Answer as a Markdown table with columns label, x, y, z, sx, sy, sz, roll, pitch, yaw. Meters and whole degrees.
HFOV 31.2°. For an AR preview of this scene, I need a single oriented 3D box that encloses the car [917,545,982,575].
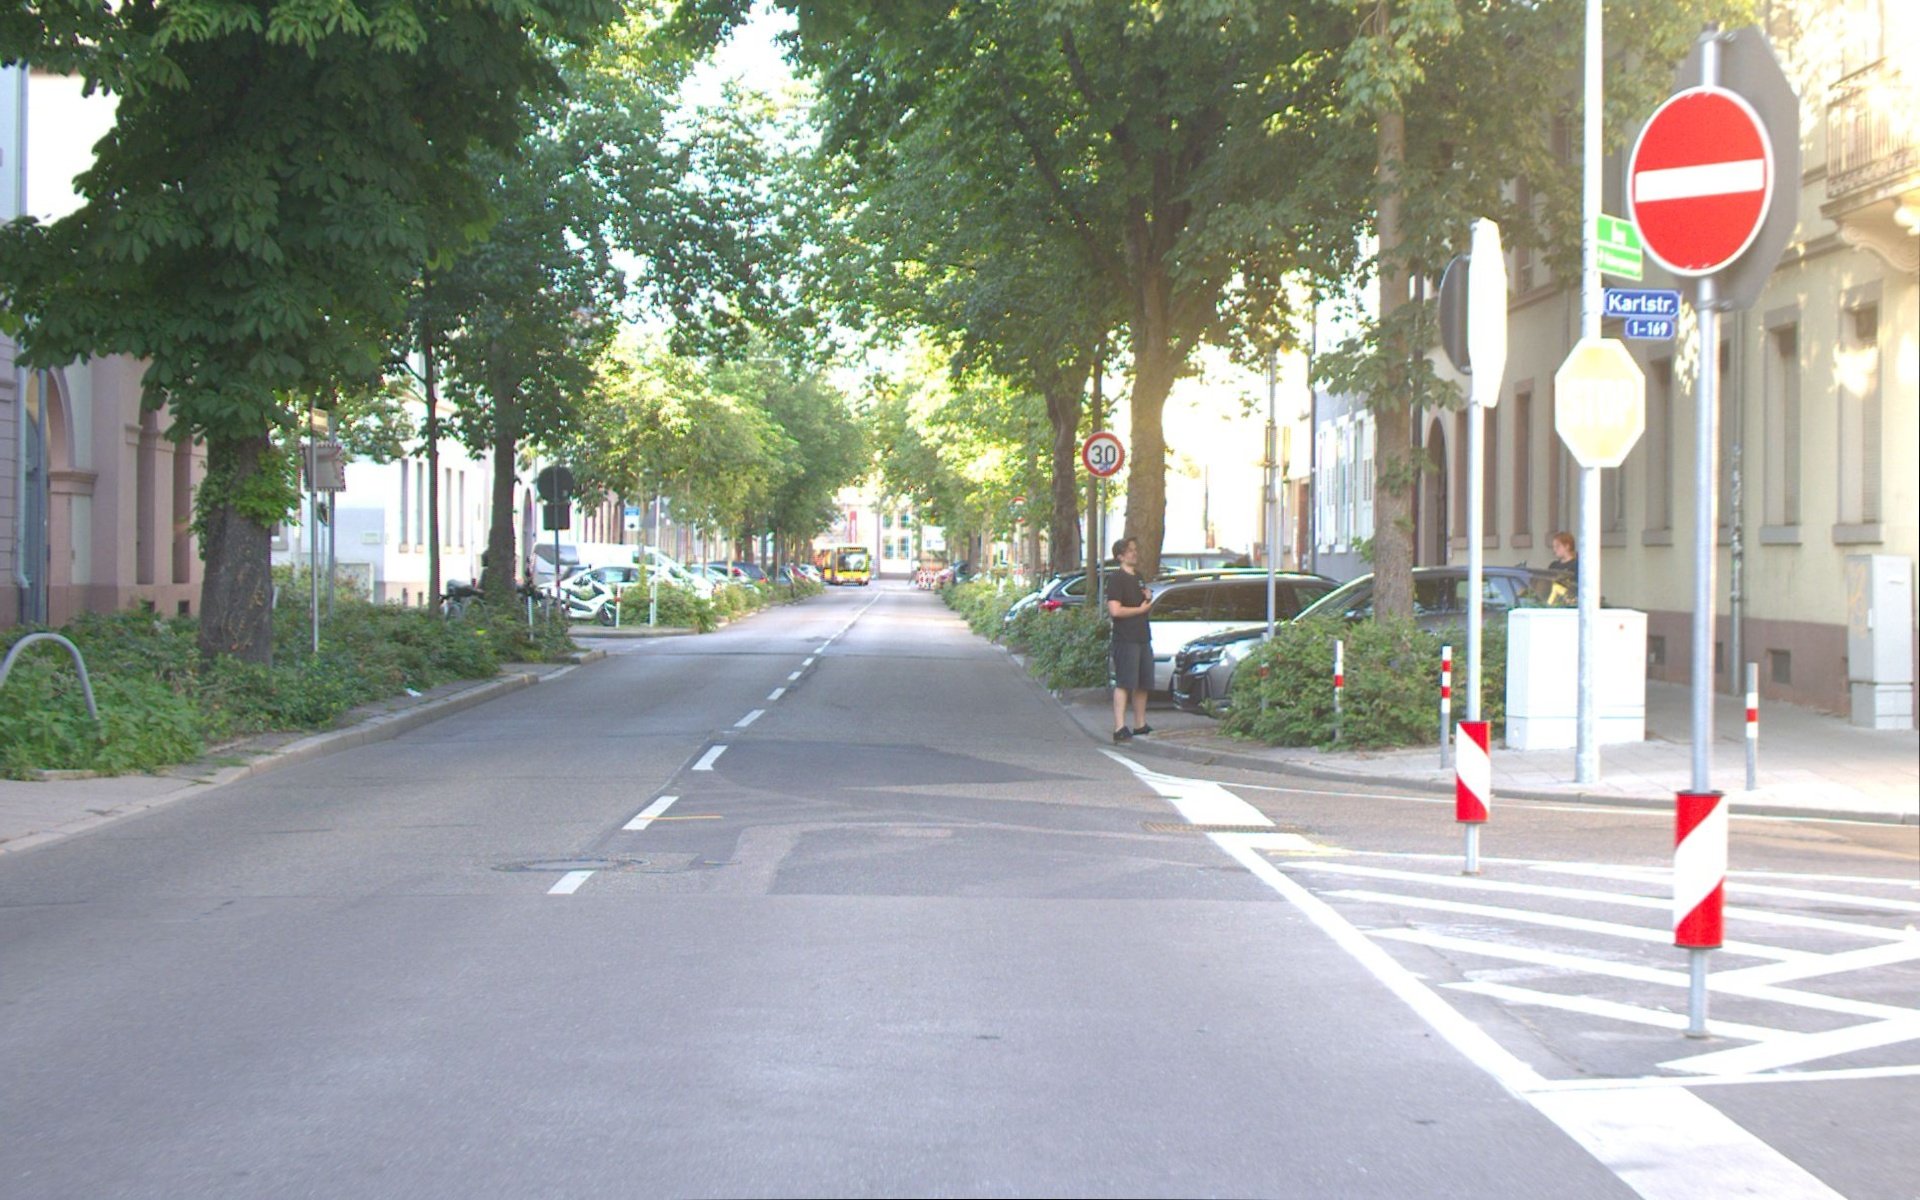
| label | x | y | z | sx | sy | sz | roll | pitch | yaw |
| --- | --- | --- | --- | --- | --- | --- | --- | --- | --- |
| car | -0.684 | -2.600 | 223.407 | 3.988 | 1.831 | 2.000 | 1 | 1 | 7 |

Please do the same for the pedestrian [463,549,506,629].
| label | x | y | z | sx | sy | sz | roll | pitch | yaw |
| --- | --- | --- | --- | --- | --- | --- | --- | --- | --- |
| pedestrian | -8.444 | -0.202 | 61.047 | 0.655 | 1.390 | 0.607 | 2 | 0 | -1 |

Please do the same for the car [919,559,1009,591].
| label | x | y | z | sx | sy | sz | roll | pitch | yaw |
| --- | --- | --- | --- | --- | --- | --- | --- | --- | --- |
| car | 0.169 | -1.129 | 155.472 | 3.986 | 1.437 | 1.697 | 0 | 1 | -2 |

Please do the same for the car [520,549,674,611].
| label | x | y | z | sx | sy | sz | roll | pitch | yaw |
| --- | --- | --- | --- | --- | --- | --- | --- | --- | --- |
| car | -8.994 | -0.504 | 85.379 | 3.725 | 1.503 | 1.873 | 0 | 1 | -4 |

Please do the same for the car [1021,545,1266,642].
| label | x | y | z | sx | sy | sz | roll | pitch | yaw |
| --- | --- | --- | --- | --- | --- | --- | --- | --- | --- |
| car | 3.076 | -0.122 | 58.199 | 4.014 | 1.617 | 1.781 | 0 | 1 | -2 |

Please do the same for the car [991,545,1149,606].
| label | x | y | z | sx | sy | sz | roll | pitch | yaw |
| --- | --- | --- | --- | --- | --- | --- | --- | --- | --- |
| car | 3.211 | -0.742 | 101.021 | 4.593 | 1.755 | 2.222 | 0 | 1 | 0 |

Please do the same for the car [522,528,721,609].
| label | x | y | z | sx | sy | sz | roll | pitch | yaw |
| --- | --- | --- | --- | --- | --- | --- | --- | --- | --- |
| car | -8.905 | -0.837 | 90.770 | 5.064 | 2.076 | 2.263 | 0 | 1 | -1 |

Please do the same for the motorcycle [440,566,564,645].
| label | x | y | z | sx | sy | sz | roll | pitch | yaw |
| --- | --- | --- | --- | --- | --- | --- | --- | --- | --- |
| motorcycle | -7.401 | 0.085 | 55.593 | 1.919 | 1.254 | 0.591 | 0 | 1 | -1 |

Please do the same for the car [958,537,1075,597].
| label | x | y | z | sx | sy | sz | roll | pitch | yaw |
| --- | --- | --- | --- | --- | --- | --- | --- | --- | --- |
| car | 1.988 | -1.143 | 119.855 | 3.987 | 2.007 | 2.000 | 1 | 1 | 3 |

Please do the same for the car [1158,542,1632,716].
| label | x | y | z | sx | sy | sz | roll | pitch | yaw |
| --- | --- | --- | --- | --- | --- | --- | --- | --- | --- |
| car | 3.982 | 0.249 | 31.975 | 4.107 | 1.485 | 1.850 | 1 | 2 | -2 |

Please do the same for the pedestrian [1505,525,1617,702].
| label | x | y | z | sx | sy | sz | roll | pitch | yaw |
| --- | --- | --- | --- | --- | --- | --- | --- | --- | --- |
| pedestrian | 5.907 | 0.122 | 33.835 | 0.943 | 1.700 | 0.782 | 1 | 2 | 1 |

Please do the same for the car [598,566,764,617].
| label | x | y | z | sx | sy | sz | roll | pitch | yaw |
| --- | --- | --- | --- | --- | --- | --- | --- | --- | --- |
| car | -8.972 | -0.282 | 110.846 | 5.064 | 1.611 | 2.263 | 0 | 1 | 3 |

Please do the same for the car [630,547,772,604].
| label | x | y | z | sx | sy | sz | roll | pitch | yaw |
| --- | --- | --- | --- | --- | --- | --- | --- | --- | --- |
| car | -9.565 | -0.923 | 127.094 | 5.064 | 2.076 | 2.263 | 0 | 1 | 1 |

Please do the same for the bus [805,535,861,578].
| label | x | y | z | sx | sy | sz | roll | pitch | yaw |
| --- | --- | --- | --- | --- | --- | --- | --- | --- | --- |
| bus | -9.609 | -3.307 | 259.328 | 3.027 | 3.179 | 9.405 | 1 | 1 | -9 |

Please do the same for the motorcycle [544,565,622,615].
| label | x | y | z | sx | sy | sz | roll | pitch | yaw |
| --- | --- | --- | --- | --- | --- | --- | --- | --- | --- |
| motorcycle | -8.352 | -0.231 | 76.191 | 1.636 | 1.064 | 0.656 | 1 | 1 | -1 |

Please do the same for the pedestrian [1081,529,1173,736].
| label | x | y | z | sx | sy | sz | roll | pitch | yaw |
| --- | --- | --- | --- | --- | --- | --- | --- | --- | --- |
| pedestrian | 1.530 | 0.288 | 31.392 | 0.794 | 1.862 | 0.751 | 1 | 1 | 4 |

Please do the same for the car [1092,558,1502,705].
| label | x | y | z | sx | sy | sz | roll | pitch | yaw |
| --- | --- | --- | --- | --- | --- | --- | --- | --- | --- |
| car | 3.567 | 0.317 | 36.941 | 4.192 | 1.475 | 1.852 | -1 | 1 | -1 |
